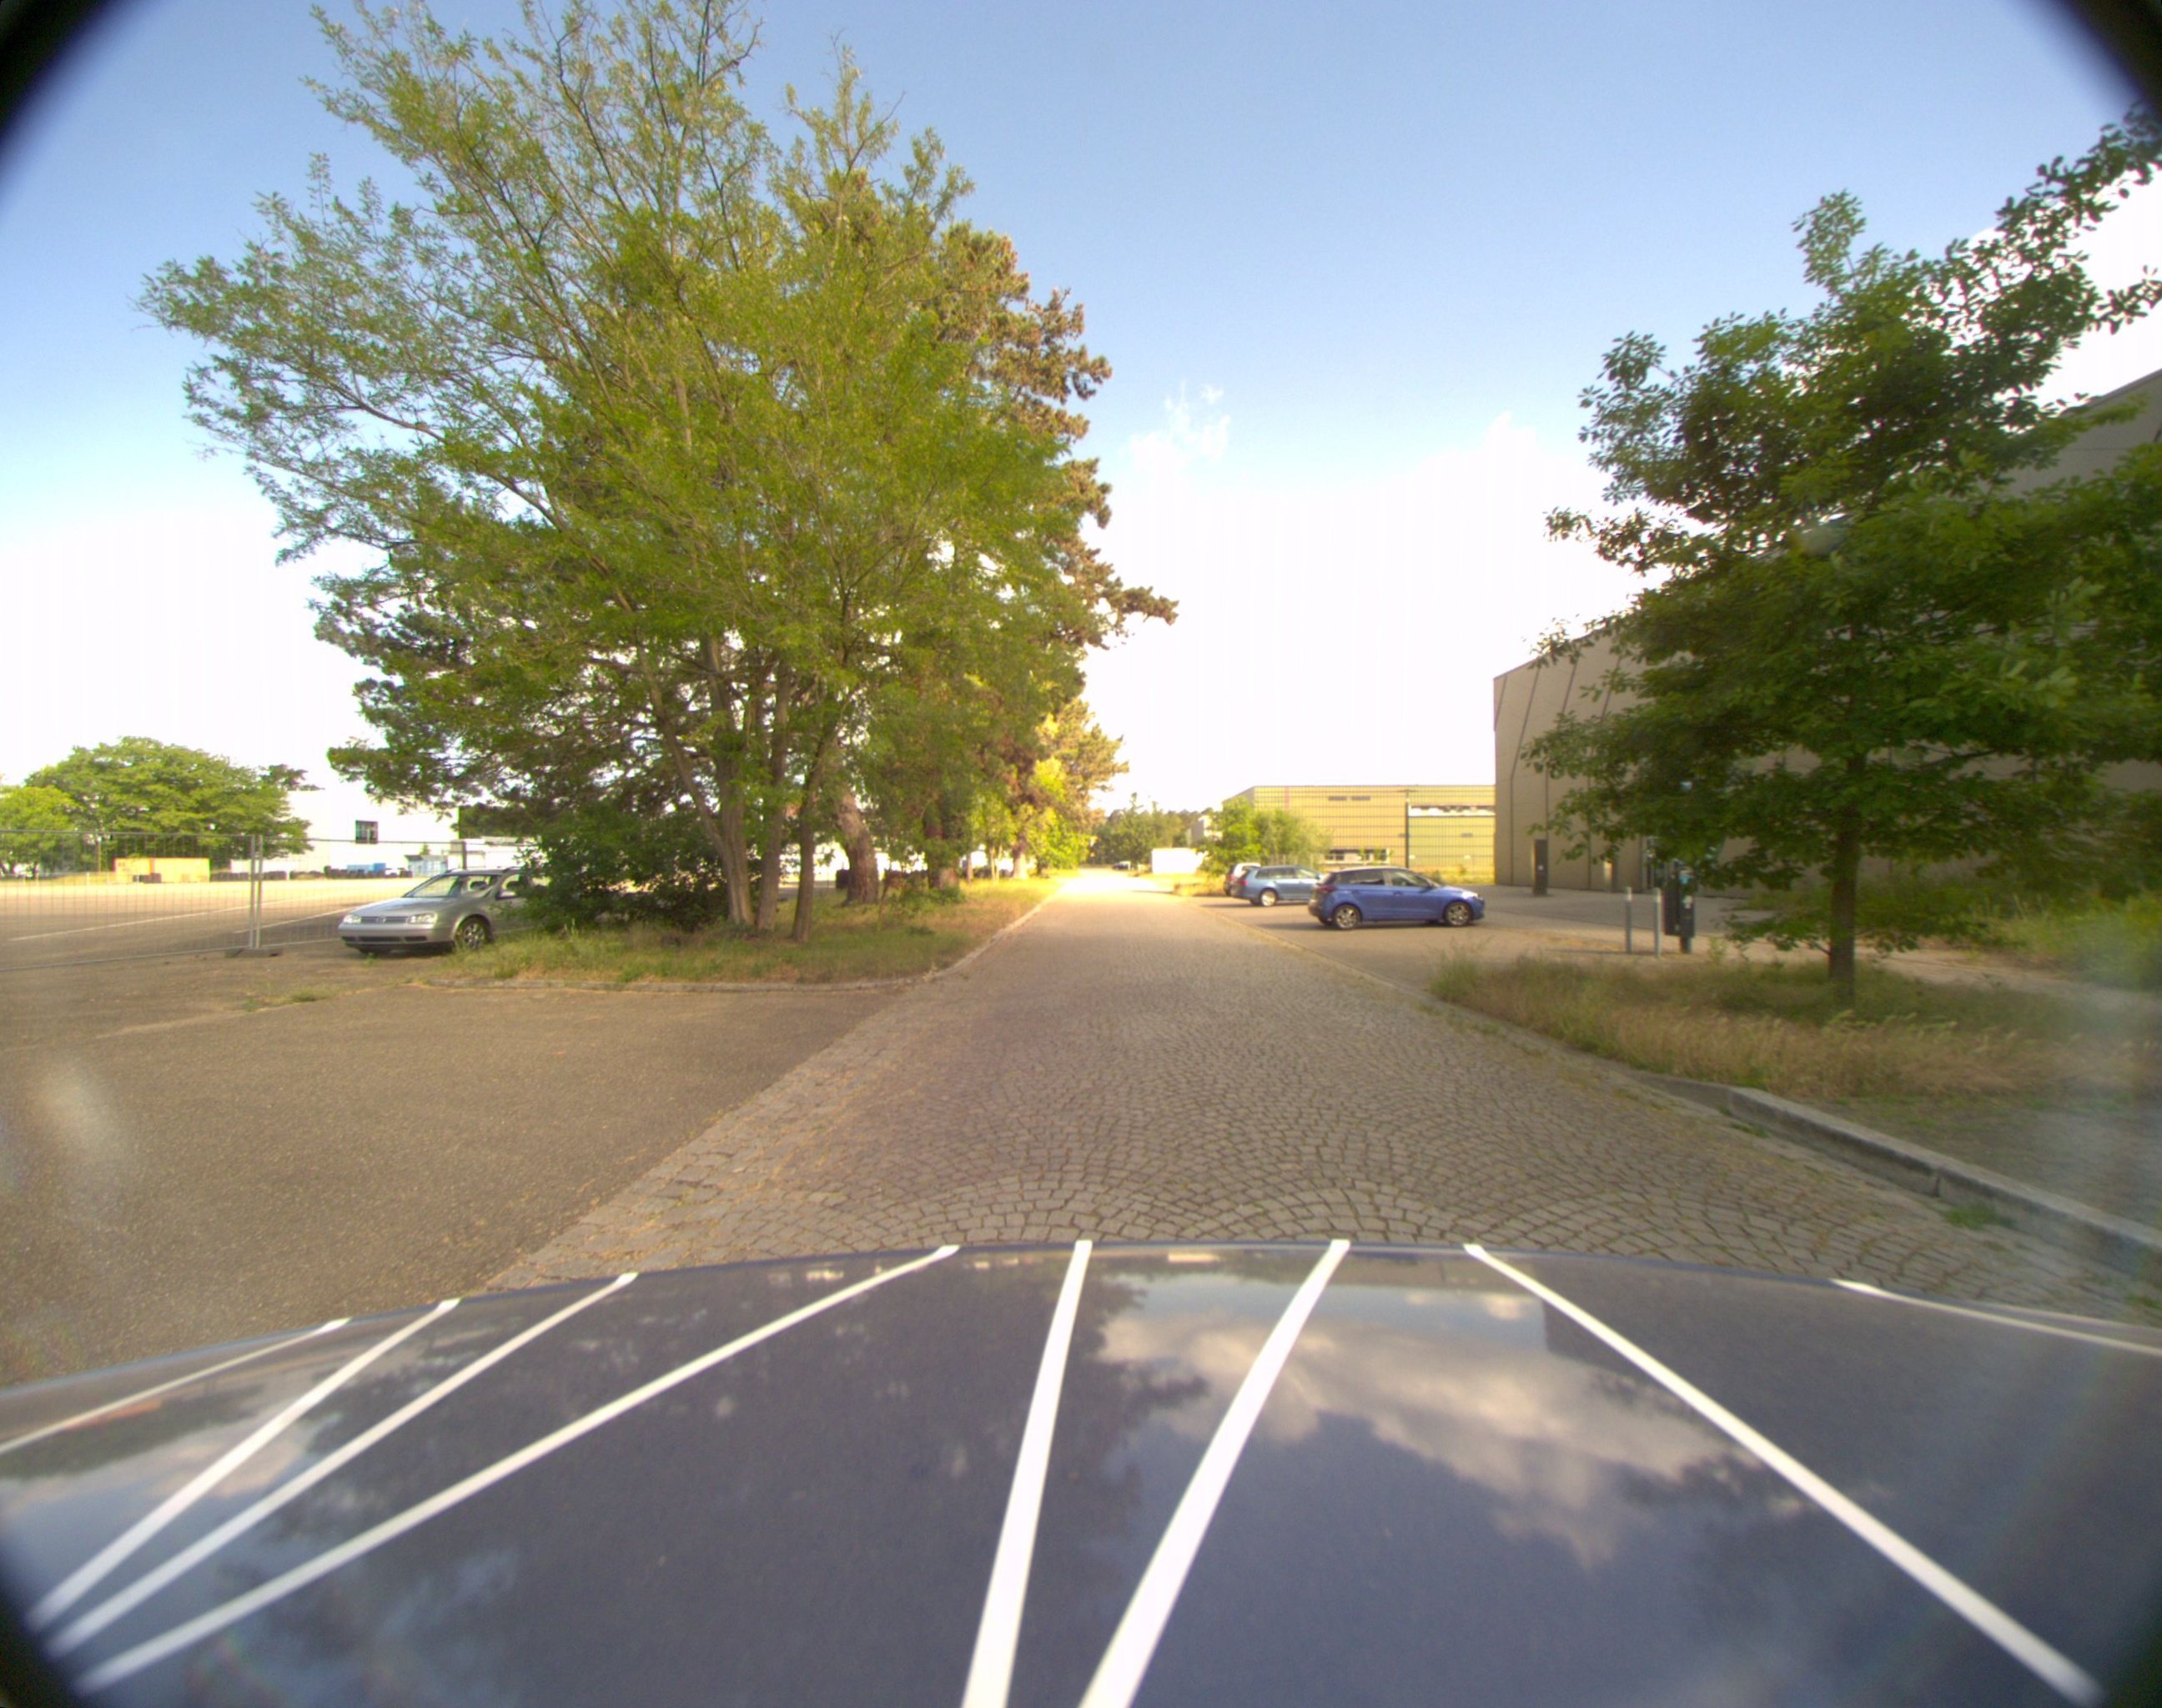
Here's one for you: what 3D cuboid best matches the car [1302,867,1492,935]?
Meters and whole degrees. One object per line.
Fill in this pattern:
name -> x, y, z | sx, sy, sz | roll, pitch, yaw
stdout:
car -> 7.614, 1.116, 18.588 | 3.917, 1.459, 1.735 | -2, 0, 4

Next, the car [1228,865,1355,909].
car -> 7.712, 1.189, 28.072 | 4.179, 1.465, 1.735 | -2, 0, -1

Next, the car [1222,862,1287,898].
car -> 8.058, 1.197, 35.430 | 2.652, 1.559, 1.482 | -2, 0, 0

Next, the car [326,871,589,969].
car -> -10.976, 1.068, 13.798 | 1.578, 1.435, 3.986 | 0, 0, -2
